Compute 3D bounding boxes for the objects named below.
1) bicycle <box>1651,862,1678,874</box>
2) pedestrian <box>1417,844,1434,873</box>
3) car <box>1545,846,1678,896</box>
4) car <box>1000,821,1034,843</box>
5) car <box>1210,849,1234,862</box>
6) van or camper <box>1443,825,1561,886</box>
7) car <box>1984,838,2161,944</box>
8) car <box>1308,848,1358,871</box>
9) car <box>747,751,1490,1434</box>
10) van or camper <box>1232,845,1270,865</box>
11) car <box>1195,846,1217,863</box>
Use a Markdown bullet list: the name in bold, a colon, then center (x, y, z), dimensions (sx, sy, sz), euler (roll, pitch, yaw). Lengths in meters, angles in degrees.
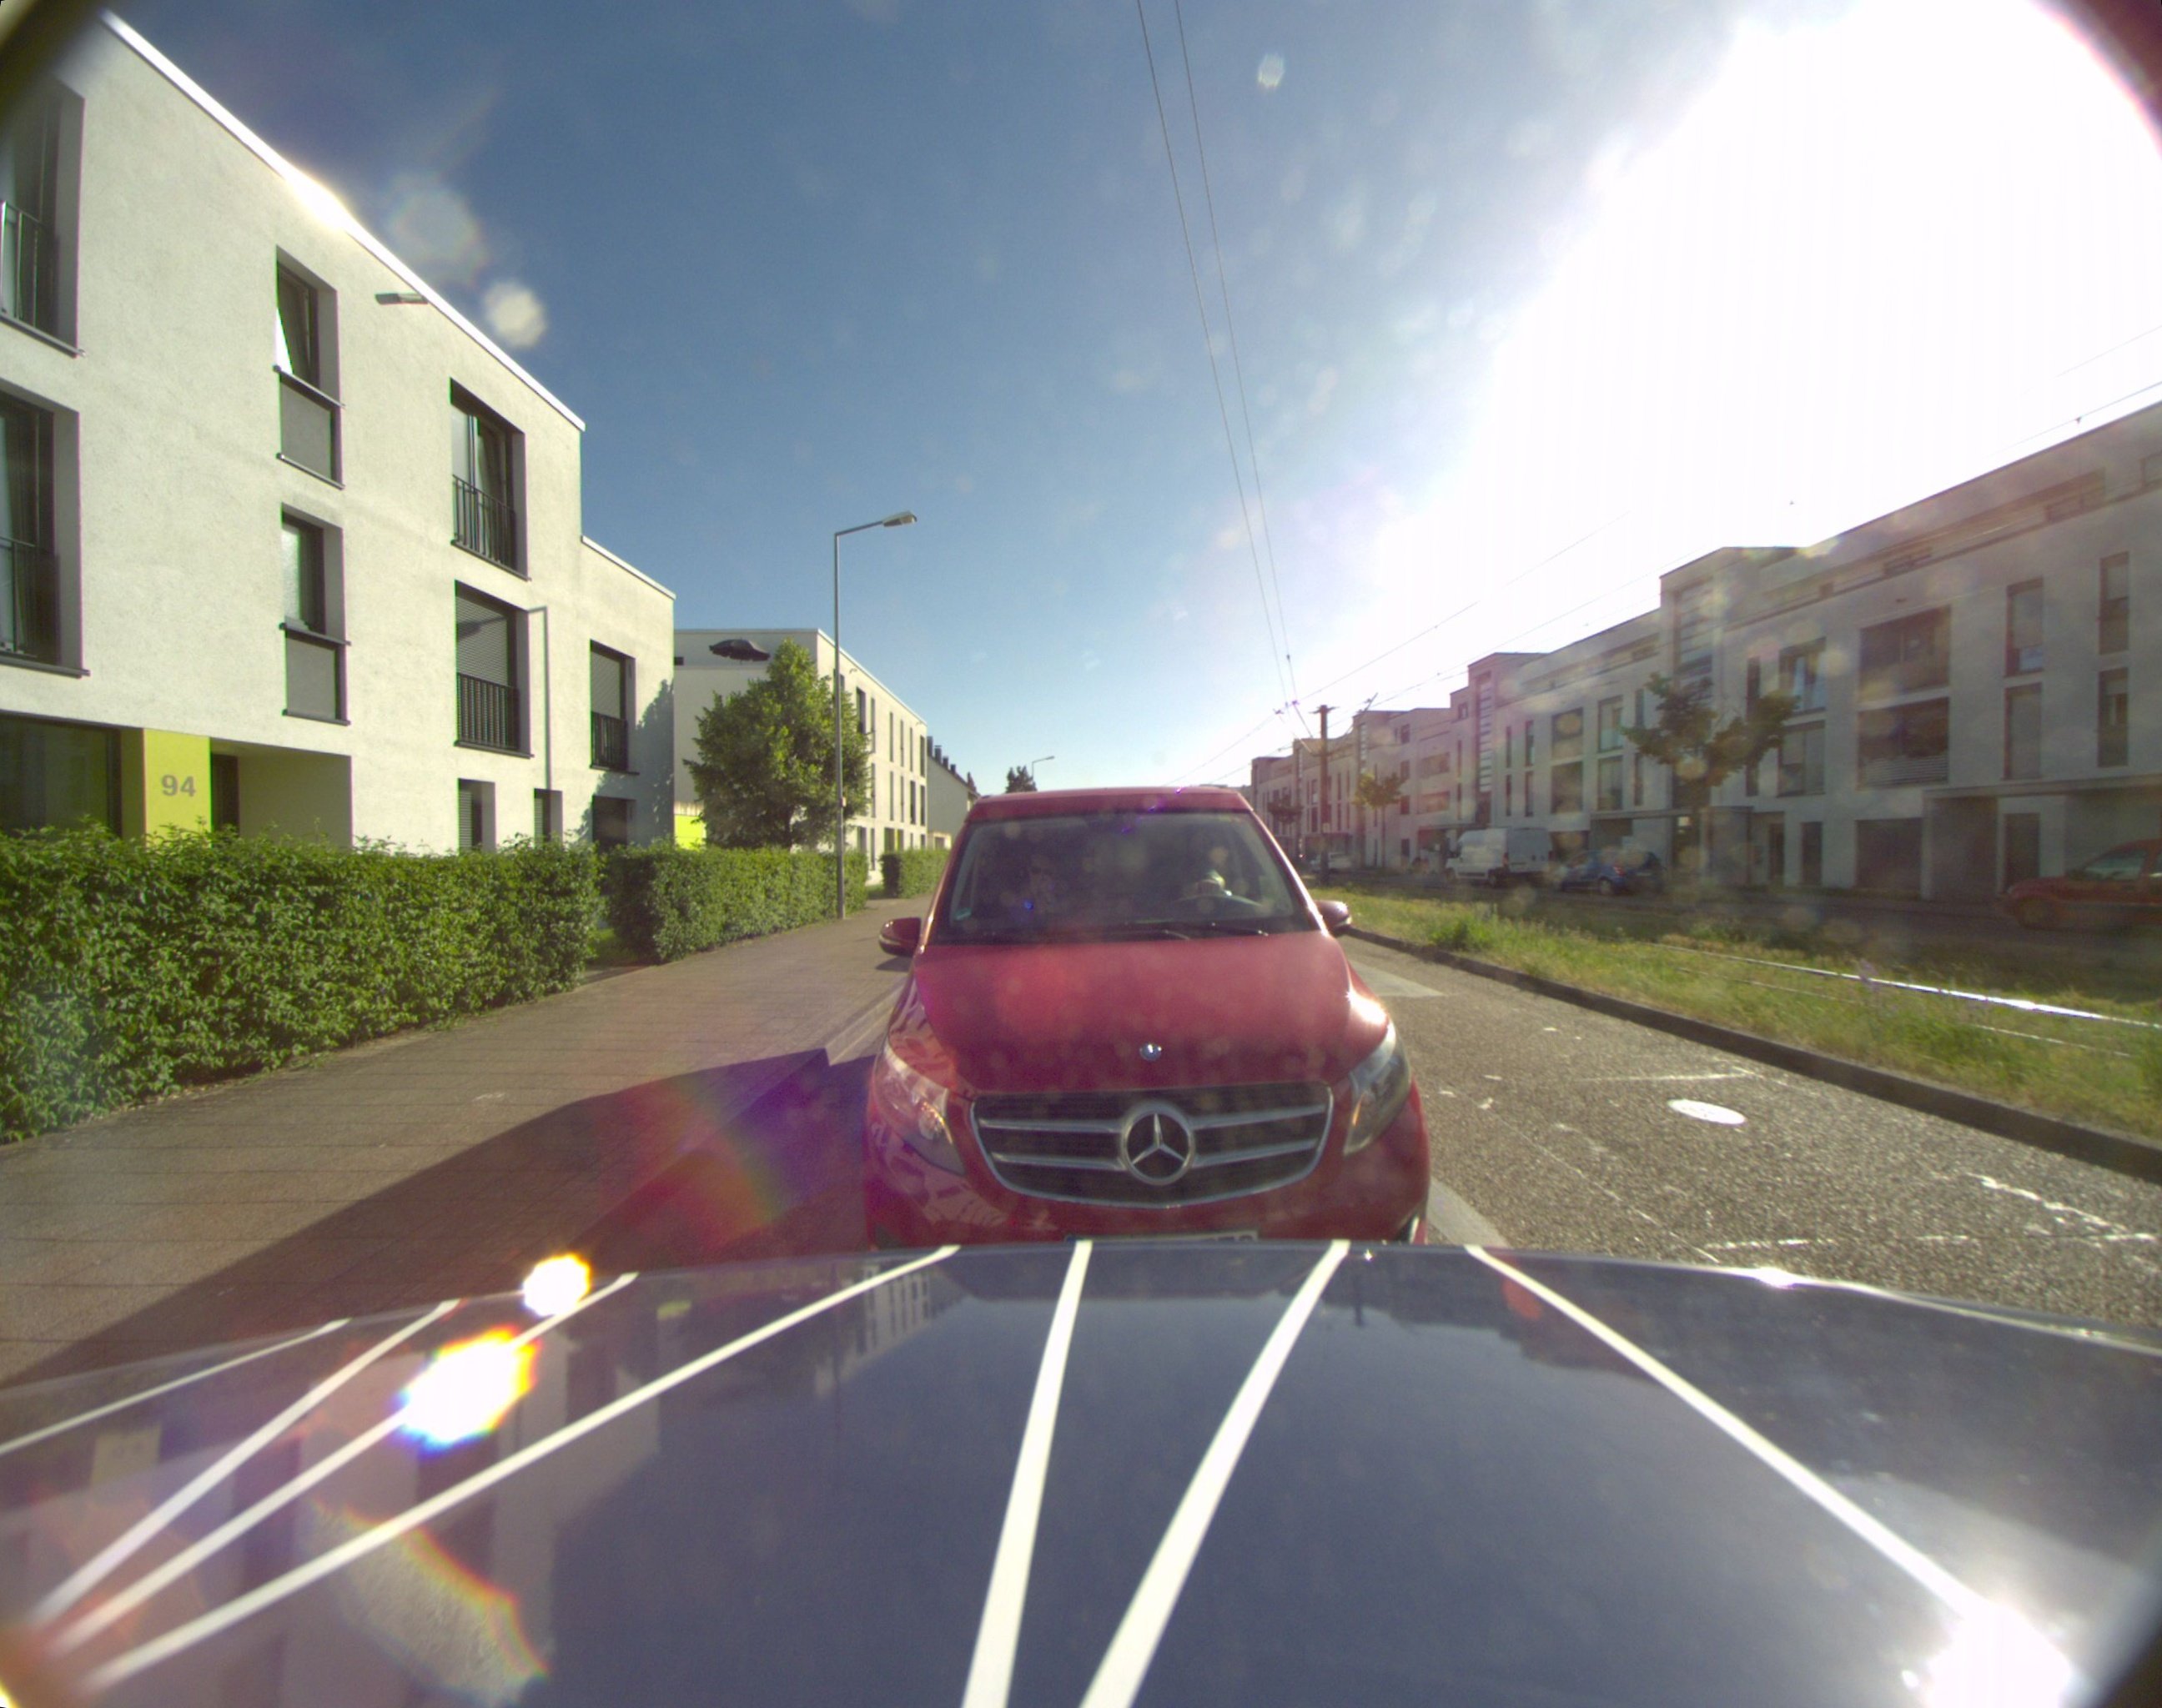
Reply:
- **bicycle**: center (24.993, 0.603, 32.549), dimensions (0.354, 0.495, 1.061), euler (0, 0, -1)
- **pedestrian**: center (19.904, 0.267, 43.946), dimensions (0.619, 1.634, 0.612), euler (-2, 1, -7)
- **car**: center (18.252, 0.544, 26.387), dimensions (1.934, 1.604, 3.835), euler (0, 1, 0)
- **car**: center (-7.358, -2.539, 88.425), dimensions (3.182, 2.333, 6.174), euler (-2, 1, 1)
- **car**: center (15.963, 0.203, 86.281), dimensions (1.867, 1.430, 3.496), euler (-2, 0, -4)
- **van or camper**: center (18.144, 0.031, 33.134), dimensions (2.197, 2.450, 5.259), euler (0, 1, 0)
- **car**: center (18.468, 0.608, 12.823), dimensions (1.793, 1.713, 3.908), euler (1, 1, 1)
- **car**: center (17.749, 0.371, 53.714), dimensions (2.047, 1.577, 4.120), euler (0, 1, -3)
- **car**: center (0.148, 0.703, 4.789), dimensions (2.127, 1.958, 5.083), euler (-2, 0, 1)
- **van or camper**: center (16.763, 0.050, 75.201), dimensions (2.273, 1.838, 6.284), euler (-1, 1, -1)
- **car**: center (15.383, 0.078, 93.851), dimensions (1.788, 2.002, 3.998), euler (-2, 1, -4)
